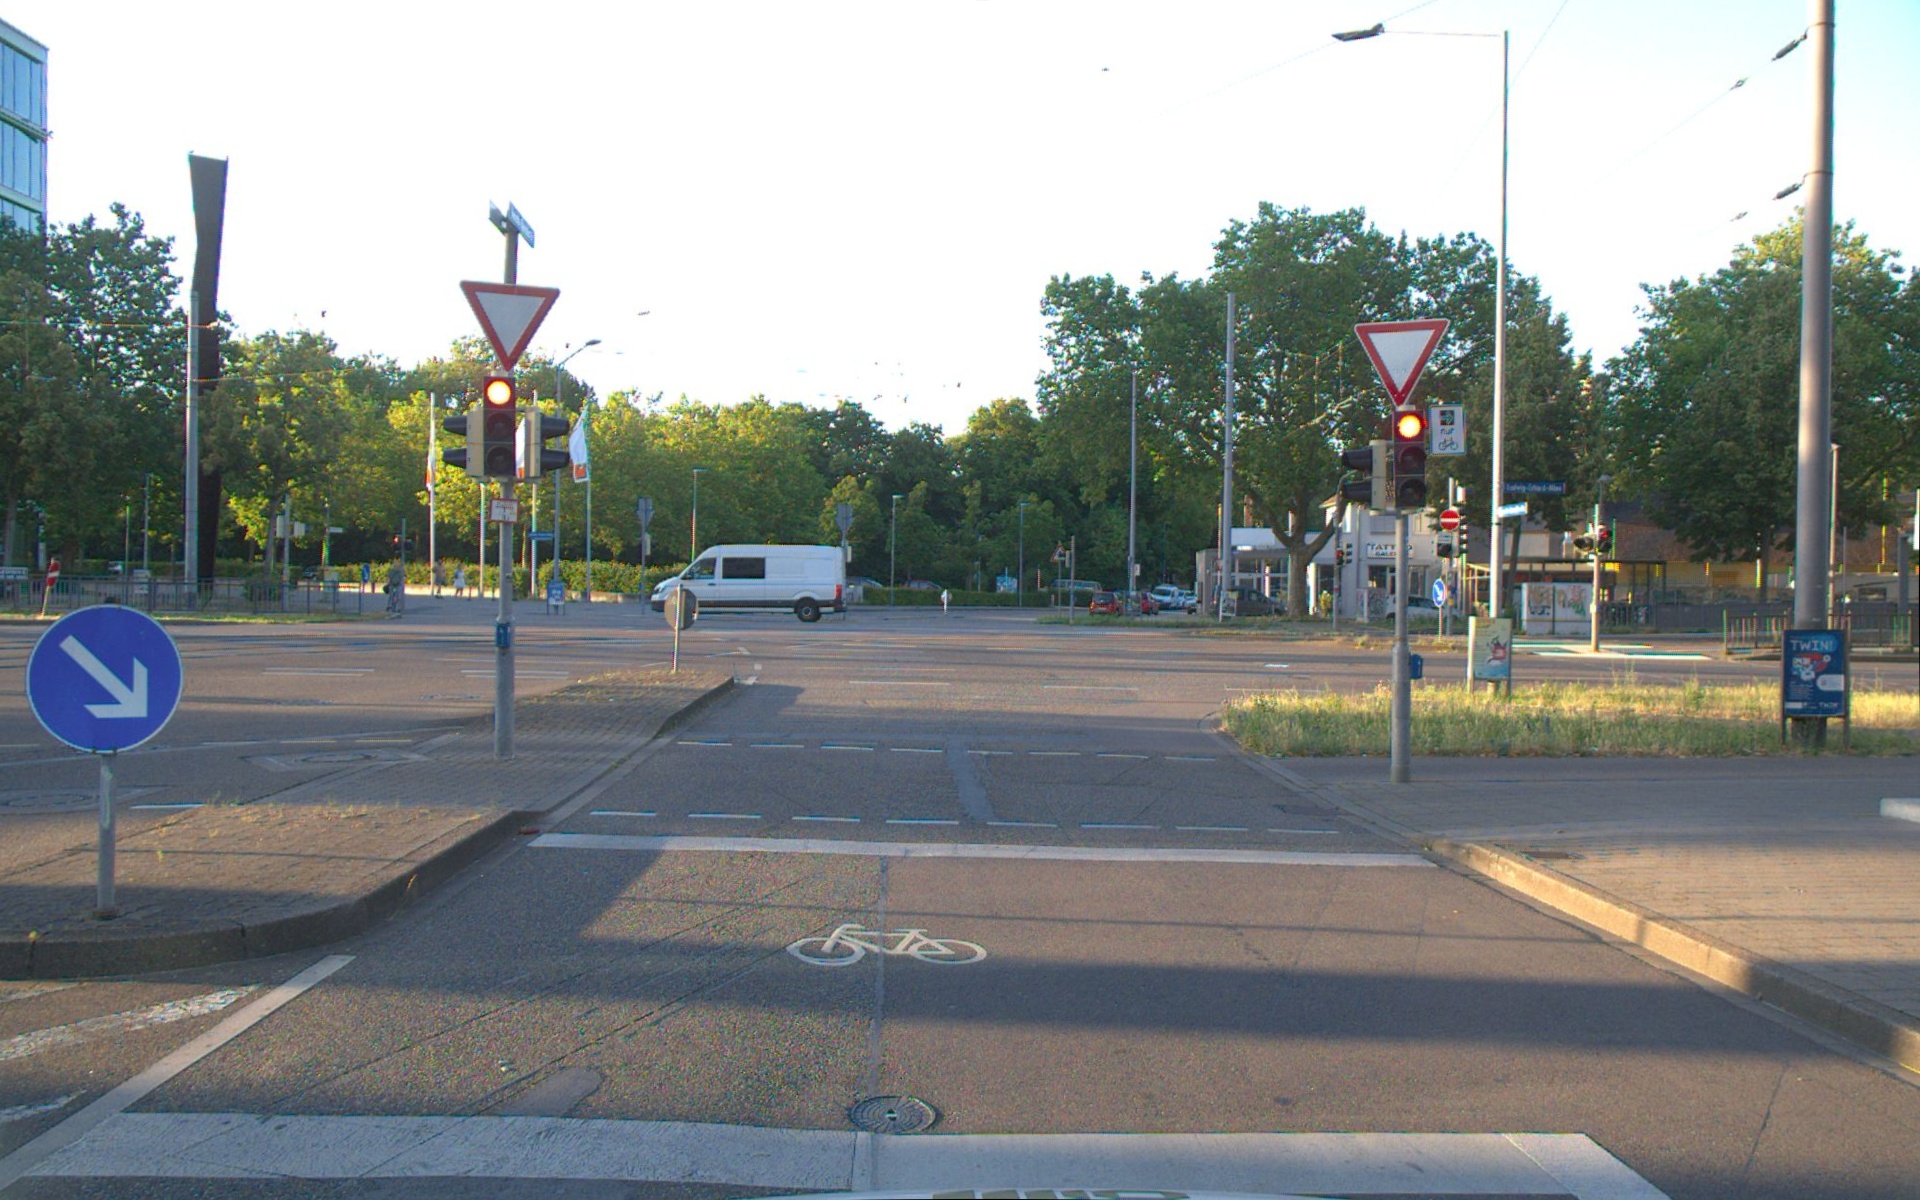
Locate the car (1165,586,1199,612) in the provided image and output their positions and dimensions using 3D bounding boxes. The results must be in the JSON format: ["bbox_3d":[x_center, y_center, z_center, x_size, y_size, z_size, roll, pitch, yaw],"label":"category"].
[{"bbox_3d":[15.569,-0.057,115.834,1.951,1.691,4.003,0,-1,14],"label":"car"}]

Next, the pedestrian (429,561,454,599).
[{"bbox_3d":[-24.237,-0.925,77.287,0.824,1.774,0.849,1,0,-45],"label":"pedestrian"}]

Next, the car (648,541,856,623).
[{"bbox_3d":[-7.083,-0.586,57.092,6.777,2.682,2.811,1,-1,-1],"label":"car"}]

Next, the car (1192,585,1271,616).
[{"bbox_3d":[14.665,0.030,89.388,4.129,1.579,2.001,1,-1,7],"label":"car"}]

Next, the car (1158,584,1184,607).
[{"bbox_3d":[17.424,-0.344,136.352,1.823,1.825,4.003,0,-1,12],"label":"car"}]

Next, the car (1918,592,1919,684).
[{"bbox_3d":[19.007,0.705,28.132,4.347,1.601,1.998,1,0,-5],"label":"car"}]

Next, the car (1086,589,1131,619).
[{"bbox_3d":[8.633,0.226,95.813,1.951,1.691,4.003,0,-1,14],"label":"car"}]

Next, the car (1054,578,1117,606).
[{"bbox_3d":[9.524,-0.583,126.027,4.675,2.041,2.000,1,-1,1],"label":"car"}]

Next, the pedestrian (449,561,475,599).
[{"bbox_3d":[-23.548,-0.959,78.156,0.847,1.774,0.826,1,0,40],"label":"pedestrian"}]

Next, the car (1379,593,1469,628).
[{"bbox_3d":[20.315,0.448,72.520,3.659,1.465,1.665,1,-1,9],"label":"car"}]

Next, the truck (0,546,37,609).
[{"bbox_3d":[-34.754,-0.790,56.256,5.445,2.090,2.067,1,0,-3],"label":"truck"}]

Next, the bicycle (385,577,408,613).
[{"bbox_3d":[-21.494,-0.200,63.063,0.719,1.364,2.673,1,1,-21],"label":"bicycle"}]

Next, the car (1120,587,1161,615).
[{"bbox_3d":[11.332,0.101,103.542,1.951,1.691,4.003,0,-1,14],"label":"car"}]

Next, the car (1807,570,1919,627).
[{"bbox_3d":[43.635,-0.073,78.685,5.476,2.596,2.231,1,0,7],"label":"car"}]

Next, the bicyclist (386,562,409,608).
[{"bbox_3d":[-21.408,-0.561,62.910,0.740,1.739,0.913,1,0,-23],"label":"bicyclist"}]

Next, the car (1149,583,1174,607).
[{"bbox_3d":[16.015,-0.355,131.436,1.823,1.825,4.003,1,-1,10],"label":"car"}]
